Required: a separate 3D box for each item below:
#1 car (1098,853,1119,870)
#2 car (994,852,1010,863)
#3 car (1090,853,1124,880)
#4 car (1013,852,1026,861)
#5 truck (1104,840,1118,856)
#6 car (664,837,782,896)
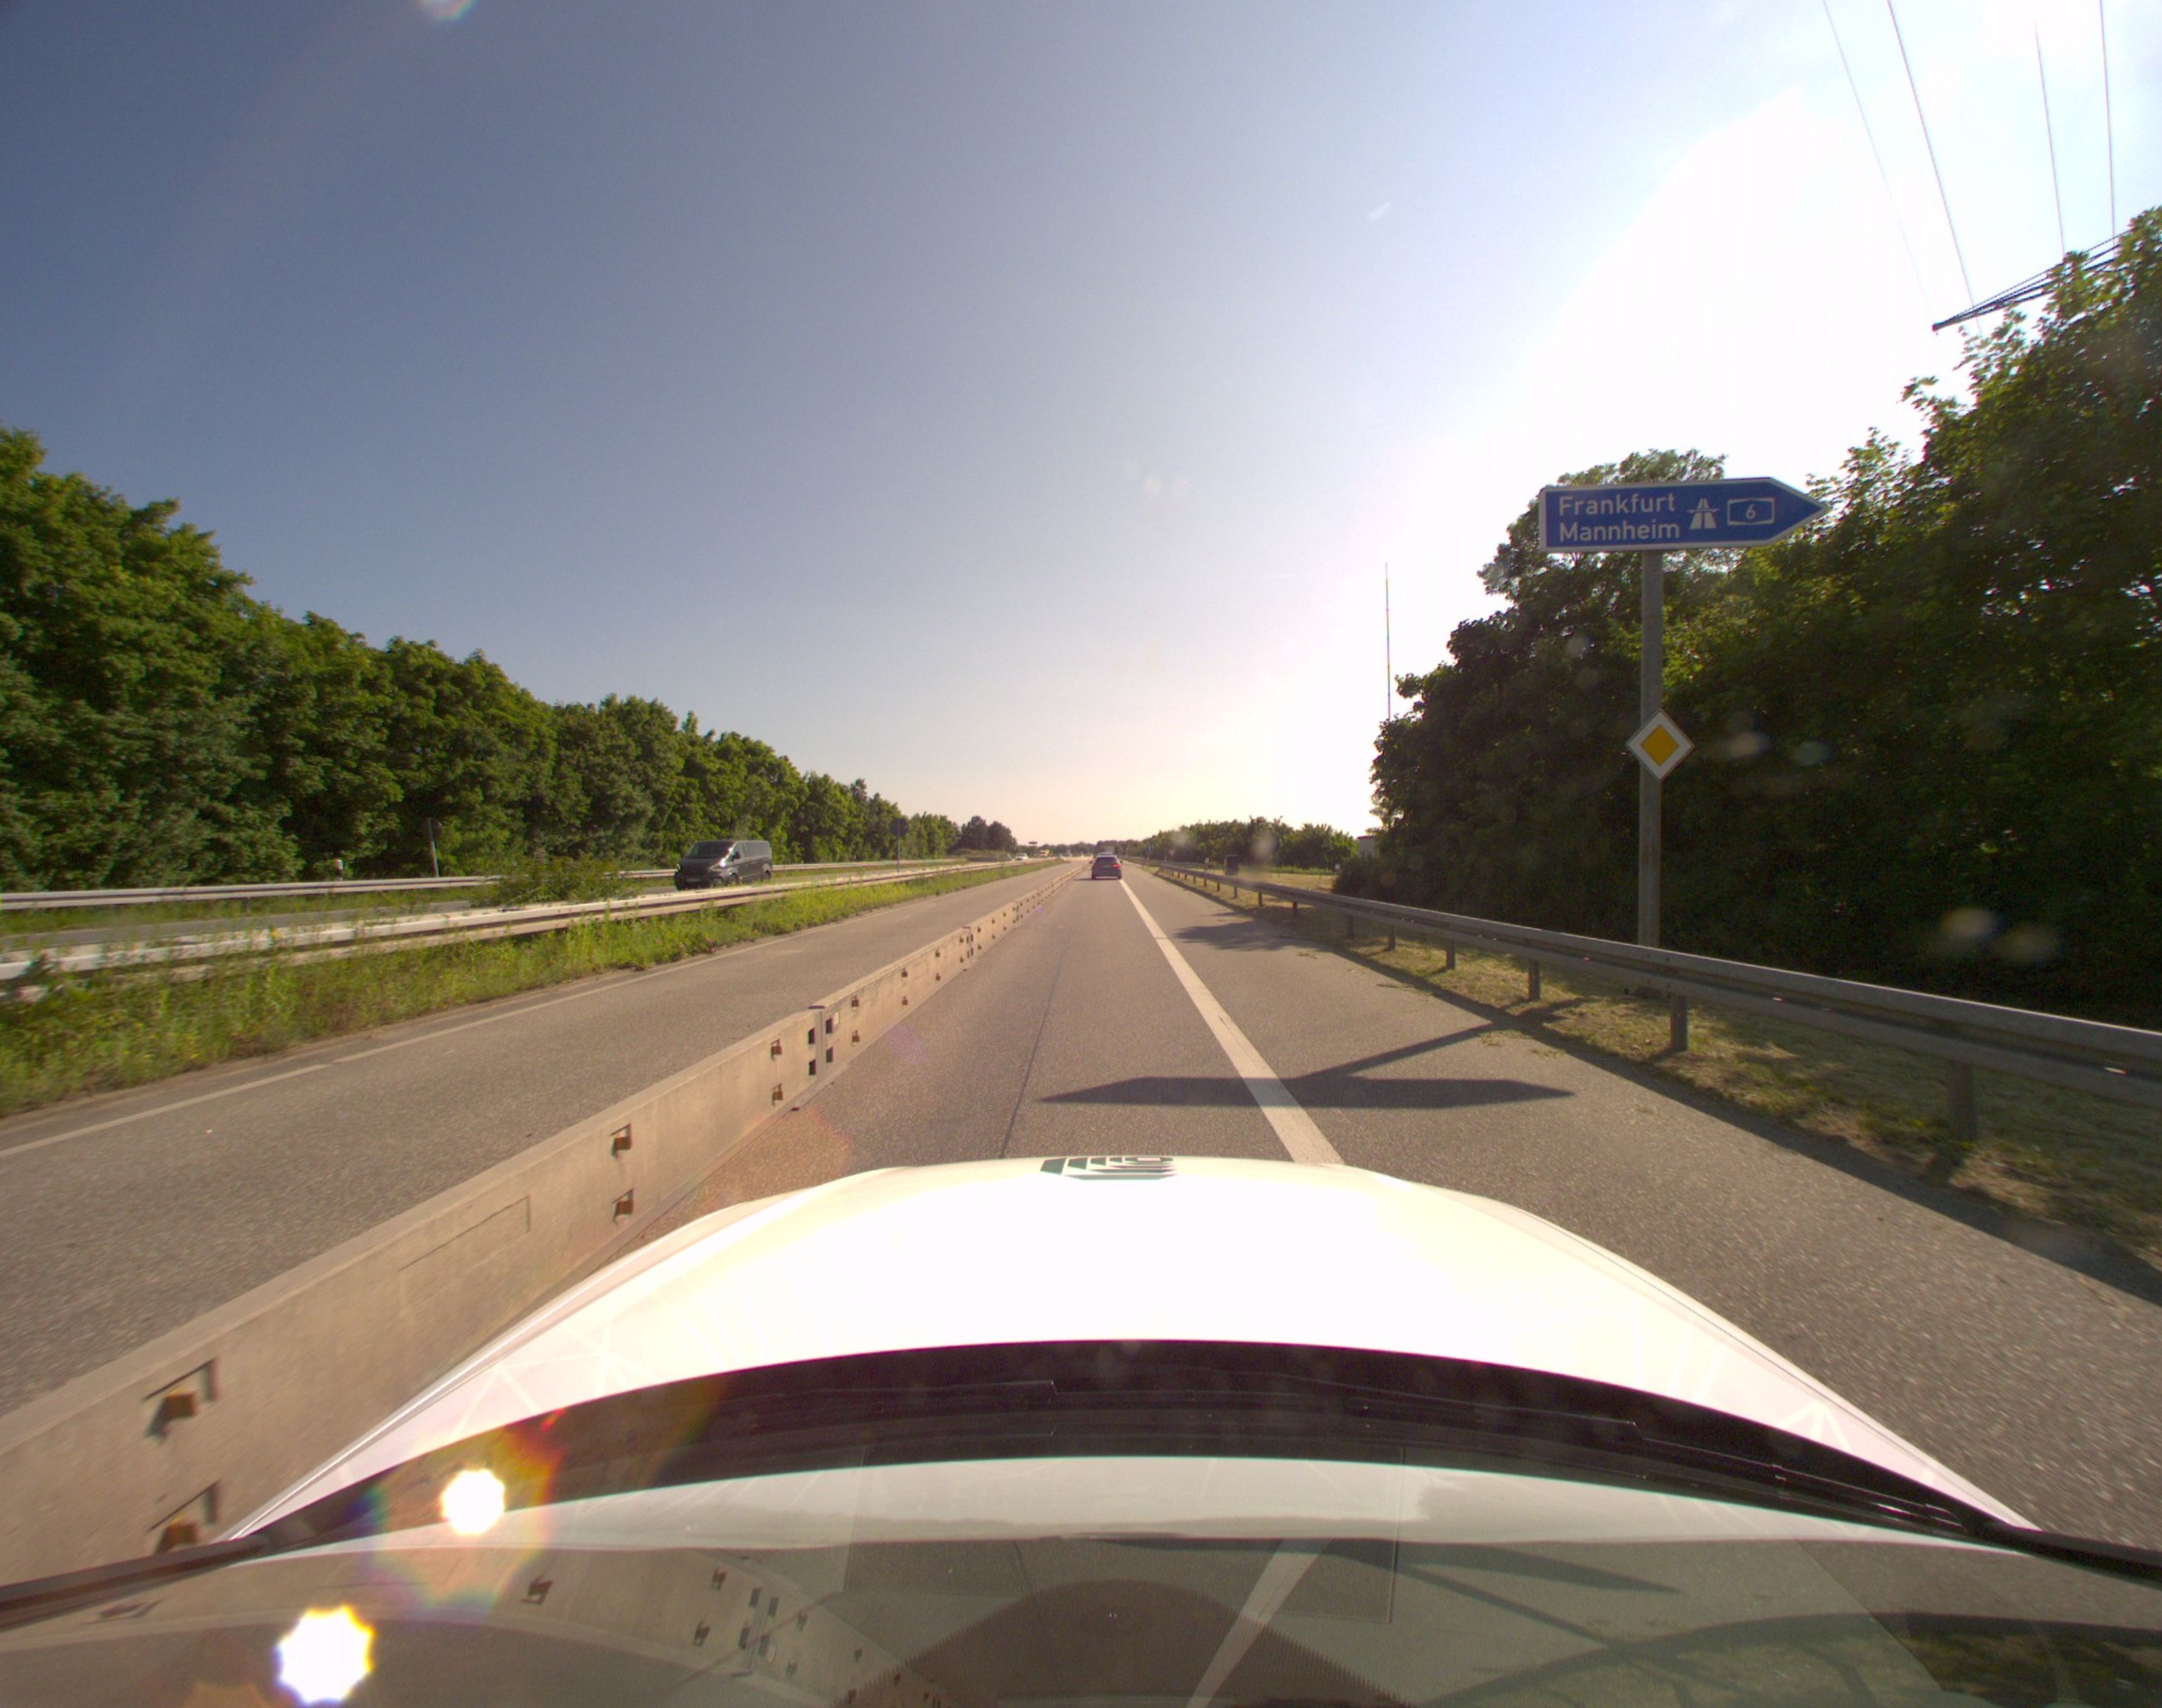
[{"bbox_3d":[2.647,0.672,77.865,1.986,1.567,4.002,-1,0,2],"label":"car"},{"bbox_3d":[-11.274,0.497,116.517,1.732,1.494,4.110,0,0,1],"label":"car"},{"bbox_3d":[1.519,0.729,48.801,1.914,1.494,4.000,-1,0,0],"label":"car"},{"bbox_3d":[-9.942,0.369,132.003,1.754,1.470,4.795,0,0,1],"label":"car"},{"bbox_3d":[9.201,-1.774,254.182,3.749,4.911,14.132,0,0,0],"label":"truck"},{"bbox_3d":[-13.463,0.408,31.025,1.985,2.034,5.172,-1,0,3],"label":"car"}]
